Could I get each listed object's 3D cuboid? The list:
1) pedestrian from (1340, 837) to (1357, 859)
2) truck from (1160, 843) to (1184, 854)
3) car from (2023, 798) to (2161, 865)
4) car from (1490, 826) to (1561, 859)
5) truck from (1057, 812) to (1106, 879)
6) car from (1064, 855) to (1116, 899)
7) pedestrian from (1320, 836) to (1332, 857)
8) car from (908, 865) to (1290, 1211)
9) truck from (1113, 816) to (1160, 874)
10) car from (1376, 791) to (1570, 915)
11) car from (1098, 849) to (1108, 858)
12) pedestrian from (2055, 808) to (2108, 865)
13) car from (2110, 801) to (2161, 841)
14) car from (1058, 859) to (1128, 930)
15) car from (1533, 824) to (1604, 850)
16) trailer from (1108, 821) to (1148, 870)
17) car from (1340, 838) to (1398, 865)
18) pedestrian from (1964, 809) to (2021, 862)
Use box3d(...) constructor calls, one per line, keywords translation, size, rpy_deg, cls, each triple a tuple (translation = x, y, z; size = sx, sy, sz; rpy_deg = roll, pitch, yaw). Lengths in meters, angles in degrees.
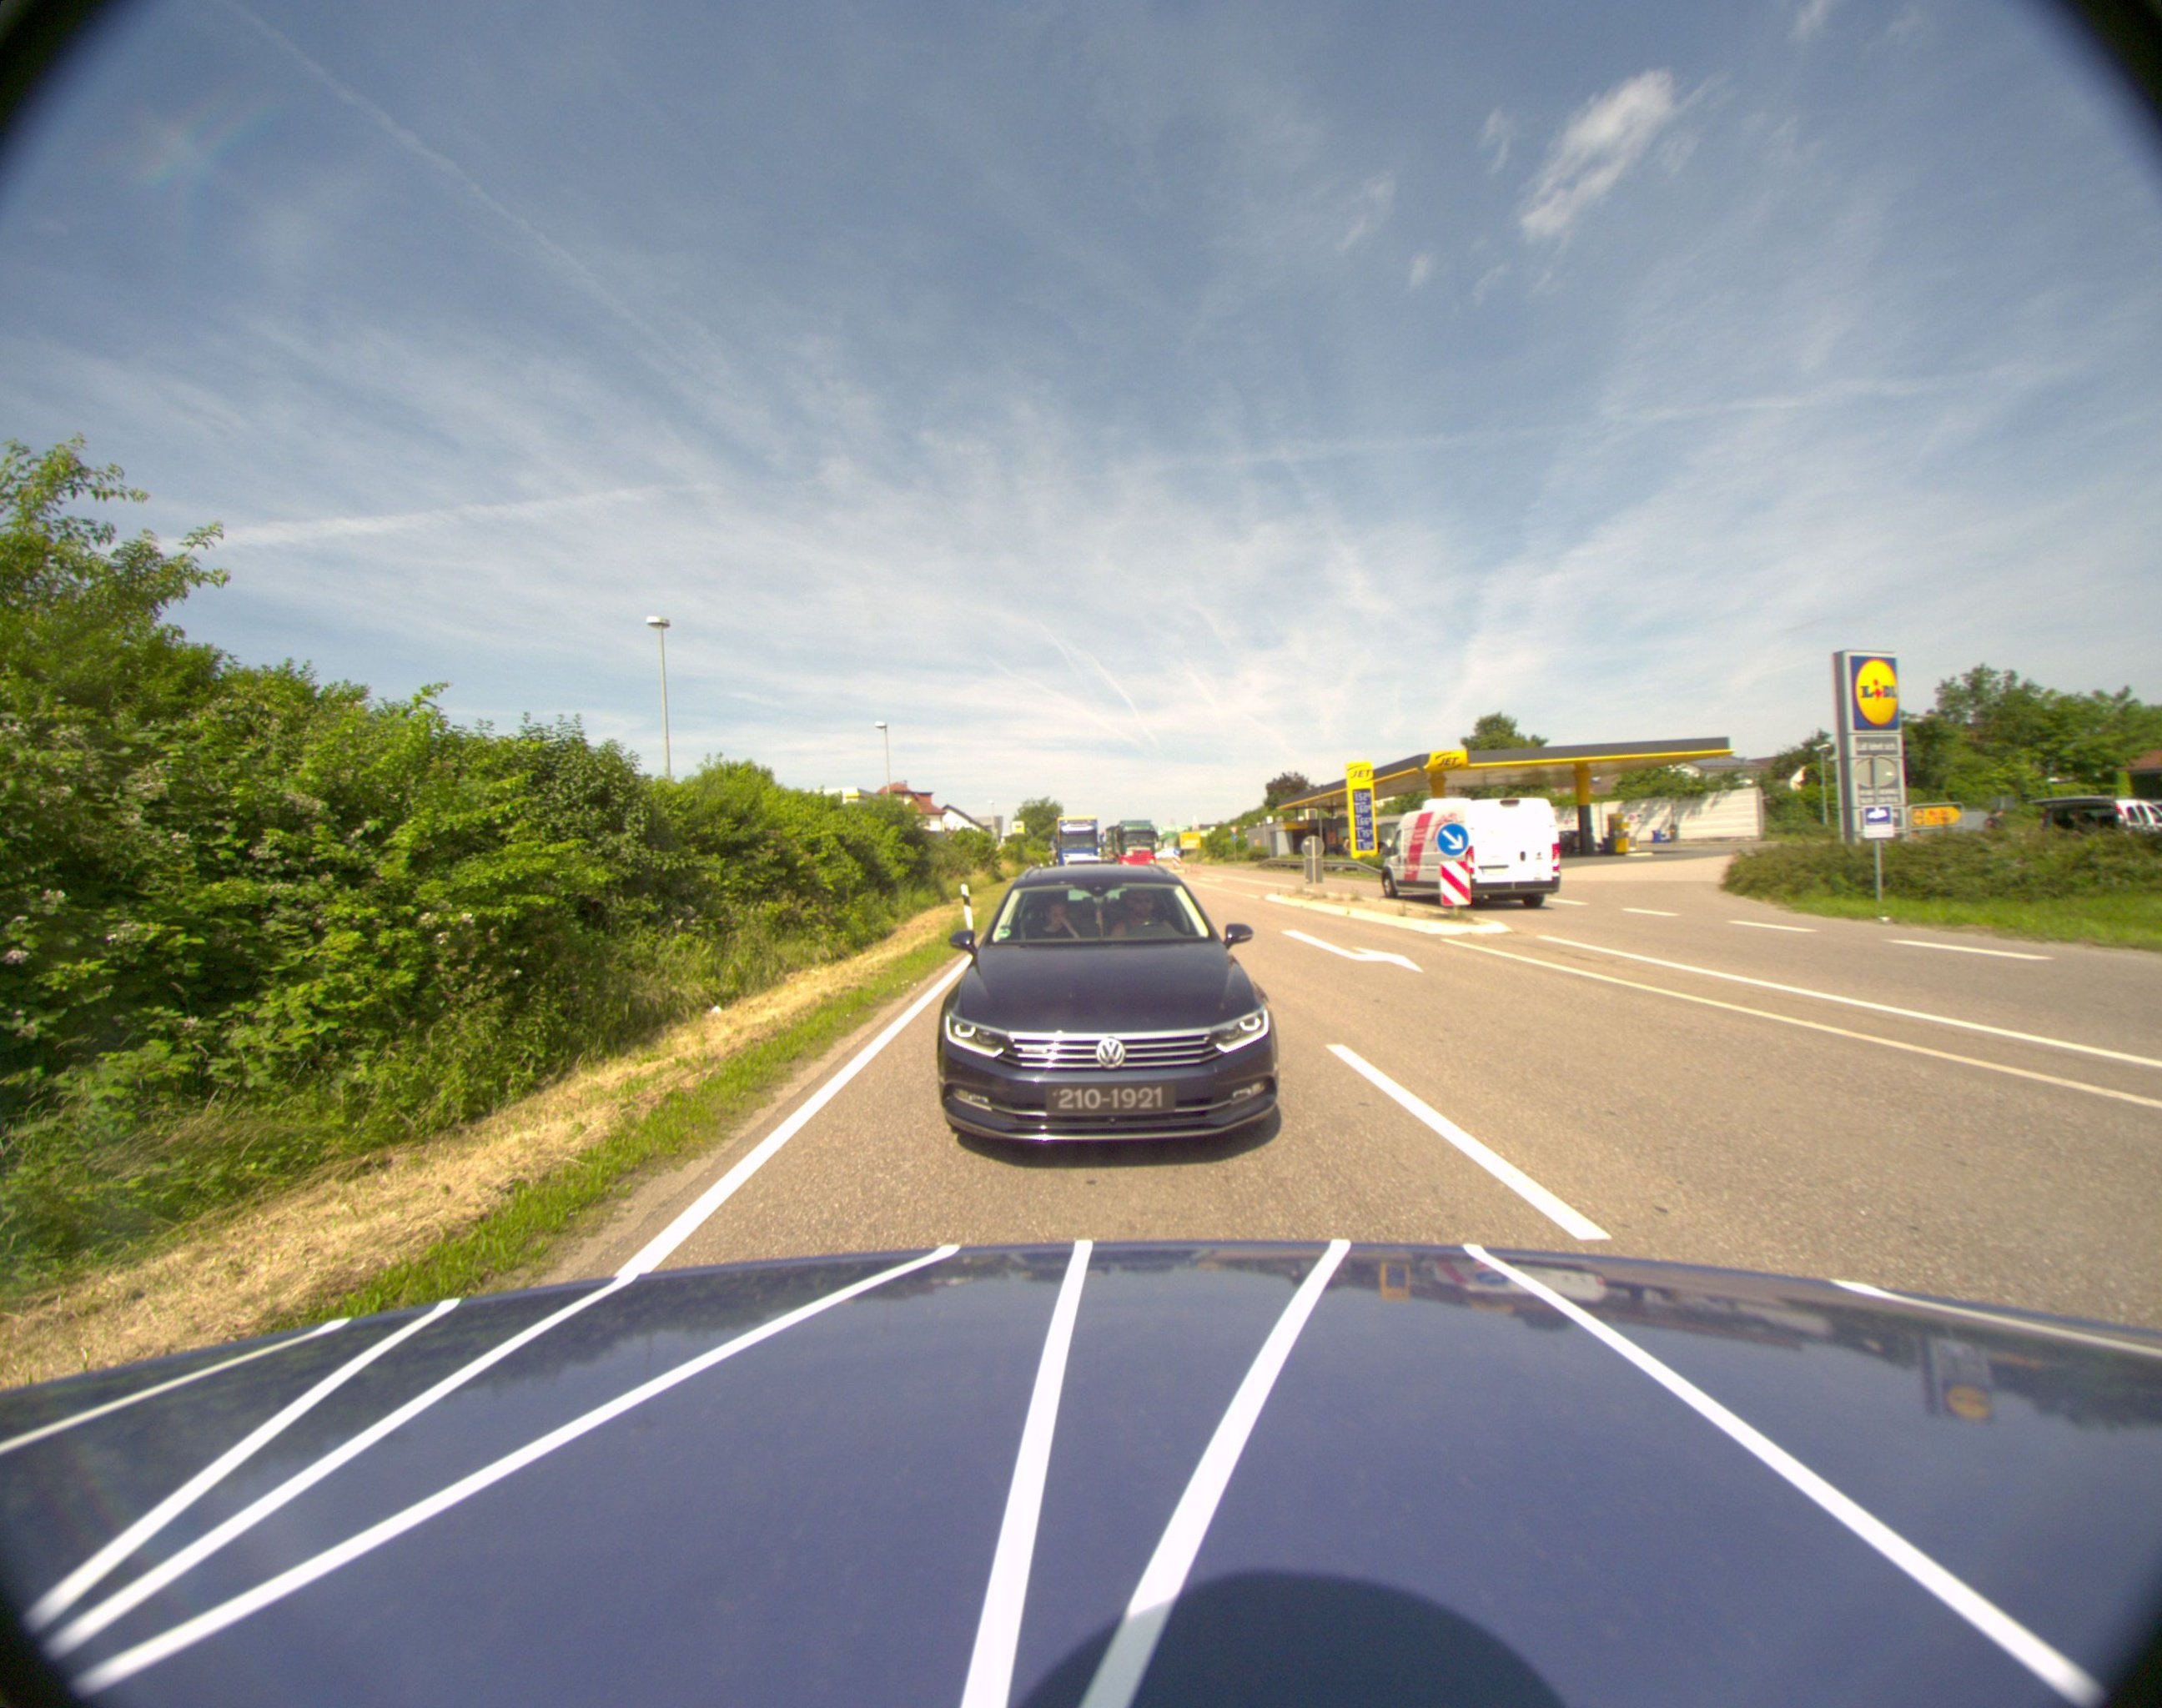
box3d(translation=(17.649, -0.386, 50.182), size=(0.914, 1.419, 0.494), rpy_deg=(-2, 1, 1), cls="pedestrian")
box3d(translation=(19.358, -1.128, 162.095), size=(4.770, 1.997, 2.000), rpy_deg=(-3, 1, 2), cls="truck")
box3d(translation=(30.683, -0.675, 22.813), size=(4.172, 1.801, 1.877), rpy_deg=(-3, 1, -23), cls="car")
box3d(translation=(24.237, -0.582, 41.624), size=(1.736, 1.718, 4.001), rpy_deg=(-1, 0, 3), cls="car")
box3d(translation=(0.141, -0.551, 52.769), size=(2.855, 3.999, 12.916), rpy_deg=(-2, 0, 1), cls="truck")
box3d(translation=(0.367, 0.833, 29.318), size=(1.814, 1.466, 3.973), rpy_deg=(-2, 0, 1), cls="car")
box3d(translation=(21.819, -0.652, 67.773), size=(0.798, 1.827, 0.640), rpy_deg=(-3, 1, 1), cls="pedestrian")
box3d(translation=(0.122, 0.909, 6.051), size=(1.756, 1.493, 4.925), rpy_deg=(-2, 0, 1), cls="car")
box3d(translation=(4.060, -0.659, 57.939), size=(2.675, 3.897, 10.048), rpy_deg=(-2, 0, 0), cls="truck")
box3d(translation=(9.663, -0.039, 19.485), size=(2.122, 2.639, 5.987), rpy_deg=(-1, 0, 3), cls="car")
box3d(translation=(4.054, -0.071, 139.487), size=(1.819, 1.626, 3.893), rpy_deg=(-2, 0, 1), cls="car")
box3d(translation=(28.529, -0.488, 21.669), size=(0.705, 1.566, 0.807), rpy_deg=(-3, 2, -27), cls="pedestrian")
box3d(translation=(44.668, -1.440, 30.770), size=(3.999, 1.531, 1.769), rpy_deg=(-3, 0, -7), cls="car")
box3d(translation=(0.283, 0.897, 18.362), size=(1.471, 1.451, 3.797), rpy_deg=(-2, 0, 1), cls="car")
box3d(translation=(32.187, -1.103, 50.321), size=(1.753, 1.603, 3.873), rpy_deg=(-2, 0, -10), cls="car")
box3d(translation=(4.044, -0.733, 67.293), size=(2.809, 3.897, 8.668), rpy_deg=(-2, 0, 0), cls="trailer")
box3d(translation=(19.031, -0.142, 50.402), size=(1.999, 1.696, 4.263), rpy_deg=(-2, 0, -3), cls="car")
box3d(translation=(27.438, -0.544, 22.885), size=(0.704, 1.566, 0.809), rpy_deg=(-2, 1, -5), cls="pedestrian")
